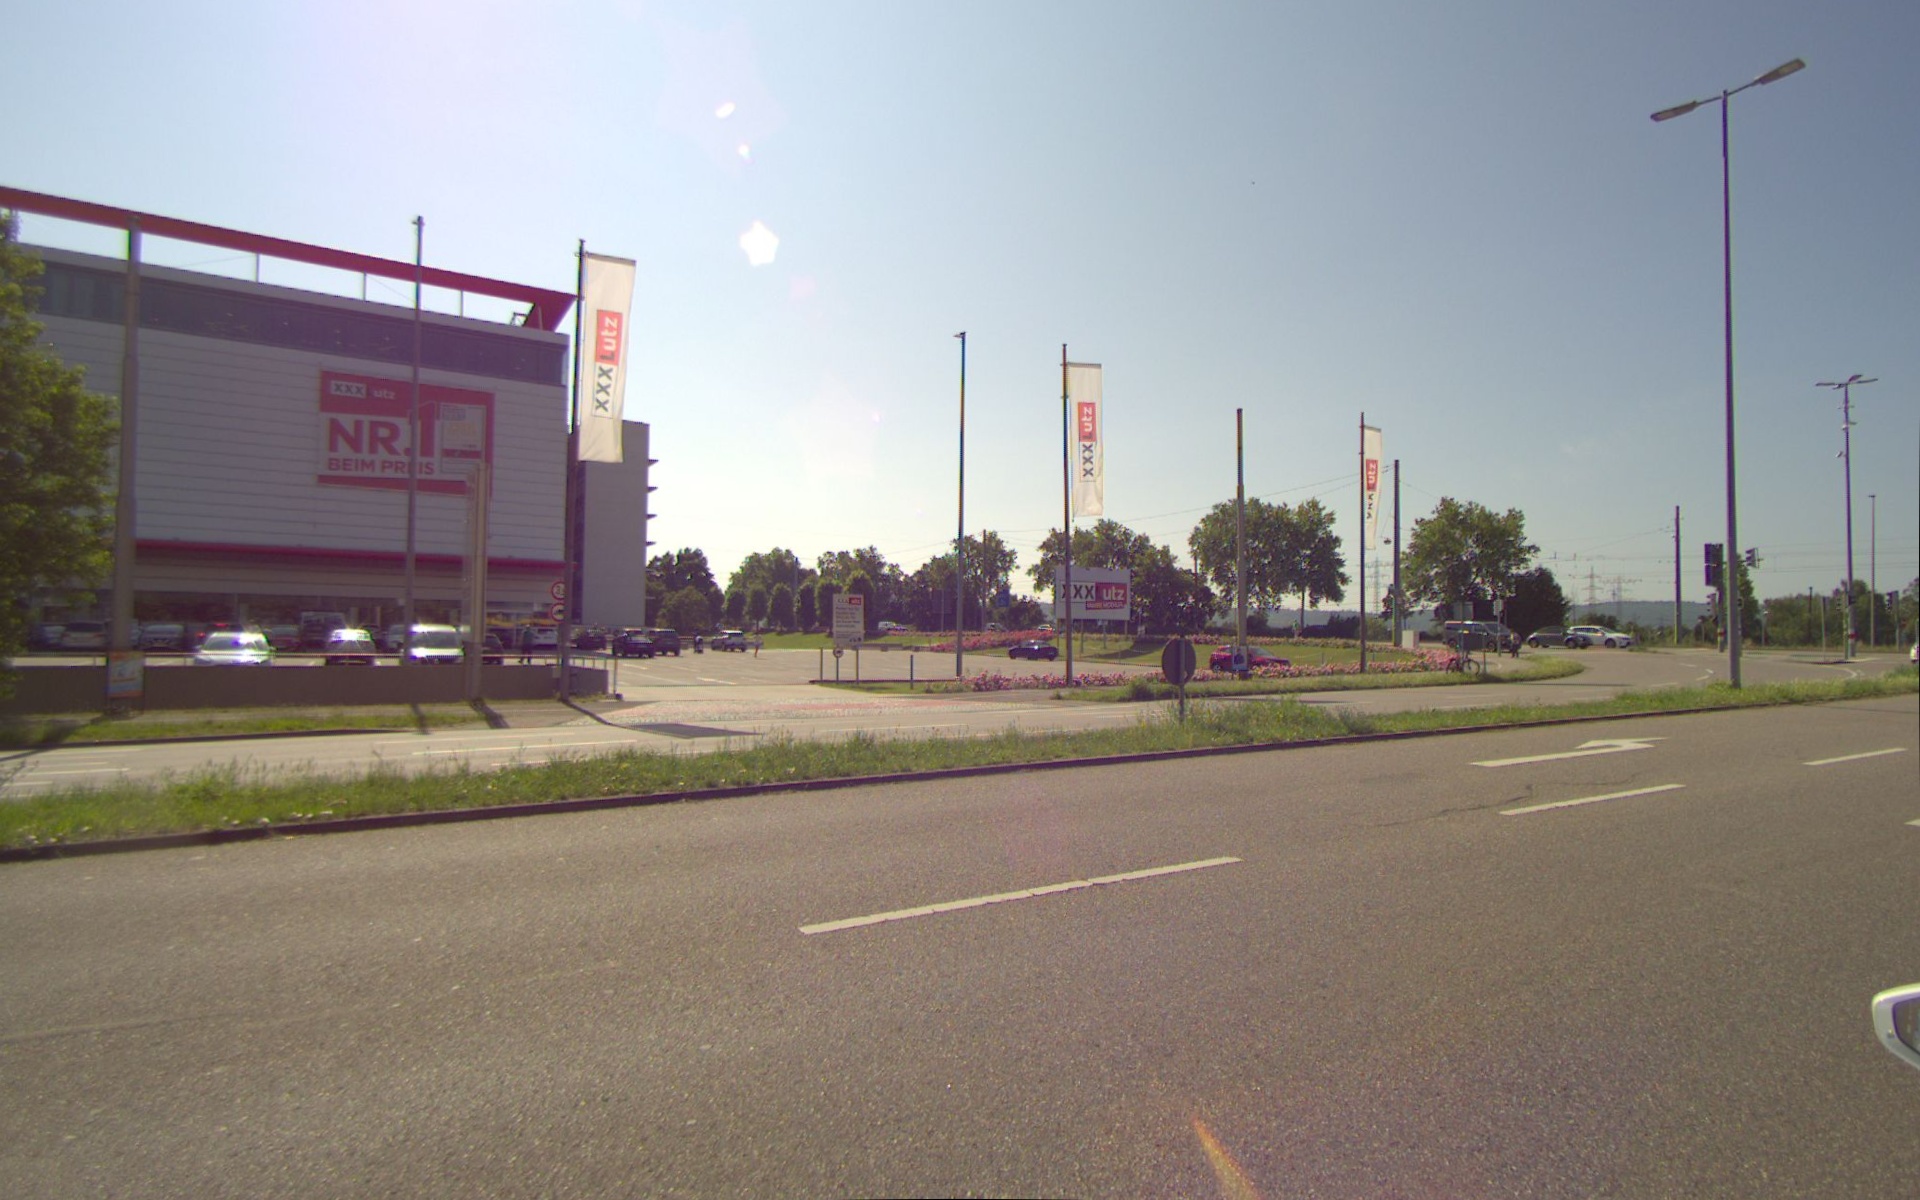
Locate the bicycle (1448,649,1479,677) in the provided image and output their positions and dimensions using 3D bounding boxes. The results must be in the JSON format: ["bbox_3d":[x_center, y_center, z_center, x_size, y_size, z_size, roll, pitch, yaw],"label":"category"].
[{"bbox_3d":[19.256,2.419,38.372,1.628,1.036,0.328,4,-5,-36],"label":"bicycle"}]

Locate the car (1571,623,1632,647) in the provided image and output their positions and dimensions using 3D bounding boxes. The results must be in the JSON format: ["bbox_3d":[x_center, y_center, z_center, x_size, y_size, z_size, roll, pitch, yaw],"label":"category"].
[{"bbox_3d":[44.172,2.408,69.201,1.396,1.519,3.321,3,-3,-35],"label":"car"}]

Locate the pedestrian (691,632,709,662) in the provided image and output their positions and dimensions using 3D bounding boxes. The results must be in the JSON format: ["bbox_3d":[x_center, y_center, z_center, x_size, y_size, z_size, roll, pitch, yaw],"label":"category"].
[{"bbox_3d":[-18.213,3.305,70.391,0.964,2.040,0.941,1,-3,-31],"label":"pedestrian"}]

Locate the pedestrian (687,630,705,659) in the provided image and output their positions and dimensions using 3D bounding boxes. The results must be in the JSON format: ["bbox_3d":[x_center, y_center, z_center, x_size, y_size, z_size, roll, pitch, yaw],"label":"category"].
[{"bbox_3d":[-18.759,3.143,71.376,0.964,2.040,0.941,1,-3,-31],"label":"pedestrian"}]

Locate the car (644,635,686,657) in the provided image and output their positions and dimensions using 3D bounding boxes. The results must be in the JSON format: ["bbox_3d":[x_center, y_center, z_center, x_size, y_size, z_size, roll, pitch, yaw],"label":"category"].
[{"bbox_3d":[-18.864,2.907,64.098,1.760,1.347,3.070,3,-3,-32],"label":"car"}]

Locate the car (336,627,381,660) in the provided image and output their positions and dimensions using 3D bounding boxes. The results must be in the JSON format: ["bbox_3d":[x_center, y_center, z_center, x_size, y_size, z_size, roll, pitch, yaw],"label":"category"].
[{"bbox_3d":[-25.823,1.846,43.052,1.499,1.347,4.464,3,-3,-32],"label":"car"}]

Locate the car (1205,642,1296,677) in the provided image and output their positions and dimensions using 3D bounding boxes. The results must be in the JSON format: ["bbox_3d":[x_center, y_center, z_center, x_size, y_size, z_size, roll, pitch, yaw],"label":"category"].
[{"bbox_3d":[14.551,2.983,50.458,1.809,1.626,4.155,3,-3,-36],"label":"car"}]

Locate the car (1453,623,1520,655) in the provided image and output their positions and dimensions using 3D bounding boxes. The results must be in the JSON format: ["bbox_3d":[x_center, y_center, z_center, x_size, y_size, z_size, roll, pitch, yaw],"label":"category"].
[{"bbox_3d":[33.826,2.481,64.621,1.784,1.951,3.993,0,0,-10],"label":"car"}]

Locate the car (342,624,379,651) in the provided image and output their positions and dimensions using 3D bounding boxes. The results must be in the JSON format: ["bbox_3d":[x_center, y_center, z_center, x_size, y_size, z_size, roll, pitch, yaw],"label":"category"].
[{"bbox_3d":[-31.132,1.929,52.131,1.499,1.347,3.070,3,-3,-32],"label":"car"}]

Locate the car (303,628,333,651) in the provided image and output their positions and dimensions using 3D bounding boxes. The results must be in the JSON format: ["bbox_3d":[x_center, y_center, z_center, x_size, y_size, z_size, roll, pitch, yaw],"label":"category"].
[{"bbox_3d":[-40.762,2.504,63.833,1.499,1.347,3.070,3,-3,-32],"label":"car"}]

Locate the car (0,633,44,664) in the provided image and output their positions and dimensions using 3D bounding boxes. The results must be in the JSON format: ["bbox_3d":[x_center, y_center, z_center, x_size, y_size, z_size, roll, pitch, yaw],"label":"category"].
[{"bbox_3d":[-41.805,2.129,44.280,1.499,1.310,3.071,3,-3,-32],"label":"car"}]

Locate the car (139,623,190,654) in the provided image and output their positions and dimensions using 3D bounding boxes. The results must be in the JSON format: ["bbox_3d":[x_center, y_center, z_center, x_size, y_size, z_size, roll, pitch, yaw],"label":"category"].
[{"bbox_3d":[-37.461,1.814,47.378,1.499,1.347,3.070,3,-3,-32],"label":"car"}]

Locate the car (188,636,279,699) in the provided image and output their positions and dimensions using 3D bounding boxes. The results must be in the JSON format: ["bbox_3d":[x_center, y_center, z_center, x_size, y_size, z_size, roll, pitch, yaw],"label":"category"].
[{"bbox_3d":[-20.761,1.878,28.841,1.852,1.648,4.387,2,-3,-33],"label":"car"}]

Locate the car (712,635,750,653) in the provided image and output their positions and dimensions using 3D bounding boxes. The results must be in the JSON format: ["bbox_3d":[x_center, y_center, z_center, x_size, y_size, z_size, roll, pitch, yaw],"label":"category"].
[{"bbox_3d":[-17.859,3.430,78.297,1.733,1.347,3.642,3,-3,-32],"label":"car"}]

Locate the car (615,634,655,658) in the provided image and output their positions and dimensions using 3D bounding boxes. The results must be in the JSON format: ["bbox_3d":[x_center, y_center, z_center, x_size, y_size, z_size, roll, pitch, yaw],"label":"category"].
[{"bbox_3d":[-19.086,2.674,58.871,1.499,1.347,3.070,3,-3,-32],"label":"car"}]

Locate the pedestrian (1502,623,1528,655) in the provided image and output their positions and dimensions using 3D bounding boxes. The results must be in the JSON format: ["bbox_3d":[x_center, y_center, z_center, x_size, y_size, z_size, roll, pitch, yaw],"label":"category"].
[{"bbox_3d":[30.424,2.127,55.048,0.892,1.729,0.839,0,-2,-20],"label":"pedestrian"}]

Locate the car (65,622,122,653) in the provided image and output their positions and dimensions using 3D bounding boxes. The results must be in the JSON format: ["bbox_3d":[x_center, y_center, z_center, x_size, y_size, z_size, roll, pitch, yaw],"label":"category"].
[{"bbox_3d":[-39.775,1.740,46.167,1.499,1.347,3.070,3,-3,-32],"label":"car"}]

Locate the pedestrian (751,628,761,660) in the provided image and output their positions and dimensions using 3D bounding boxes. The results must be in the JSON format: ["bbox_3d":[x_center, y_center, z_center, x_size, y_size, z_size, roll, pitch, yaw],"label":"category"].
[{"bbox_3d":[-12.623,2.735,62.274,0.489,1.919,0.784,0,-3,-1],"label":"pedestrian"}]

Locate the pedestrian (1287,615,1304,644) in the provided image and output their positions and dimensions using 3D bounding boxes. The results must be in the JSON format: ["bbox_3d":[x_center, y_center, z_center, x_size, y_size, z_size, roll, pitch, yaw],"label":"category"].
[{"bbox_3d":[23.894,2.117,71.465,0.906,1.997,0.713,3,-3,-27],"label":"pedestrian"}]

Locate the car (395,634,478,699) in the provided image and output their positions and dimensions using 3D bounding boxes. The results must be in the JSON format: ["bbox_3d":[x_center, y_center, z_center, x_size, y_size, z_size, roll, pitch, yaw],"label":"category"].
[{"bbox_3d":[-16.382,2.019,31.320,1.924,1.866,4.389,2,-3,-32],"label":"car"}]

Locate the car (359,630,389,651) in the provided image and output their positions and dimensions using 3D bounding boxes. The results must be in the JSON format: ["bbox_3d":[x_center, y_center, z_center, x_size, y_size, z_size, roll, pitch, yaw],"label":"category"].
[{"bbox_3d":[-37.742,2.595,64.689,1.499,1.241,3.070,3,-3,-32],"label":"car"}]

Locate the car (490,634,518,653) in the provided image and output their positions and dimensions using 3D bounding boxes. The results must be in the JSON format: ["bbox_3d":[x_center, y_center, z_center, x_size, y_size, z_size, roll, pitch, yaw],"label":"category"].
[{"bbox_3d":[-31.511,2.998,69.370,1.352,1.283,3.070,3,-3,-32],"label":"car"}]

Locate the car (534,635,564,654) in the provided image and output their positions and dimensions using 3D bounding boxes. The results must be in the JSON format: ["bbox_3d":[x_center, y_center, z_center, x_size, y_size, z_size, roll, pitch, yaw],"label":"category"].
[{"bbox_3d":[-28.832,3.115,70.457,1.426,1.241,3.071,3,-3,-32],"label":"car"}]

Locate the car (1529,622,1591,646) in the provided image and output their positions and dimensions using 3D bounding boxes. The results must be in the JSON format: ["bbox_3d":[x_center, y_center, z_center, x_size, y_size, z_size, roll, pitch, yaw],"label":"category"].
[{"bbox_3d":[40.883,2.315,68.514,1.395,1.519,3.366,3,-3,-33],"label":"car"}]

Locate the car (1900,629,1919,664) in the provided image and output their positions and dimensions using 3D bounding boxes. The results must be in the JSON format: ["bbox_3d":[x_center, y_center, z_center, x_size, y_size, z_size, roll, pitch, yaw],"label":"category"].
[{"bbox_3d":[44.957,2.137,45.827,4.034,1.567,1.787,2,-2,-27],"label":"car"}]

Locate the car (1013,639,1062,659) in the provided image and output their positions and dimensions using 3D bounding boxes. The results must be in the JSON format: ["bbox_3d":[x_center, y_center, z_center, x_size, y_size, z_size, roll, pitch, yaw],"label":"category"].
[{"bbox_3d":[5.770,3.638,74.807,1.710,1.347,3.826,3,-3,-32],"label":"car"}]

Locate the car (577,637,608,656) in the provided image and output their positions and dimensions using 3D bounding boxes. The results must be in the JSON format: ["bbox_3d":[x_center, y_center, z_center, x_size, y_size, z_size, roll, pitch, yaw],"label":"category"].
[{"bbox_3d":[-26.901,3.373,73.543,1.499,1.347,3.070,3,-3,-32],"label":"car"}]

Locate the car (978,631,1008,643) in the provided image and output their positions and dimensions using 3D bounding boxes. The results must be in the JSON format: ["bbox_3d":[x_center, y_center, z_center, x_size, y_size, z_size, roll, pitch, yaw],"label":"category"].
[{"bbox_3d":[4.132,4.638,126.384,1.743,1.540,3.965,1,-3,-32],"label":"car"}]

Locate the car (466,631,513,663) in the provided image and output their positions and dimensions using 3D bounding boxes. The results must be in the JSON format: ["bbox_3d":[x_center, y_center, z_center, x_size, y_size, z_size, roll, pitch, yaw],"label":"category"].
[{"bbox_3d":[-21.279,2.117,45.398,1.499,1.347,3.070,3,-3,-32],"label":"car"}]

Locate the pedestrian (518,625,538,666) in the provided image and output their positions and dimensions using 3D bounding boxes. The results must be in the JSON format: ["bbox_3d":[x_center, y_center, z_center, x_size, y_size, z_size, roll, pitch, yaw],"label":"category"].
[{"bbox_3d":[-20.121,2.133,46.786,0.743,1.882,0.849,1,-3,-32],"label":"pedestrian"}]

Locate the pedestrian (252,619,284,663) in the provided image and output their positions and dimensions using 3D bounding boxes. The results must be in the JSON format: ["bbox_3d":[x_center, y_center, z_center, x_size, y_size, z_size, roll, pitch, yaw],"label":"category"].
[{"bbox_3d":[-32.461,1.939,47.140,1.006,2.040,0.861,0,-3,-18],"label":"pedestrian"}]
